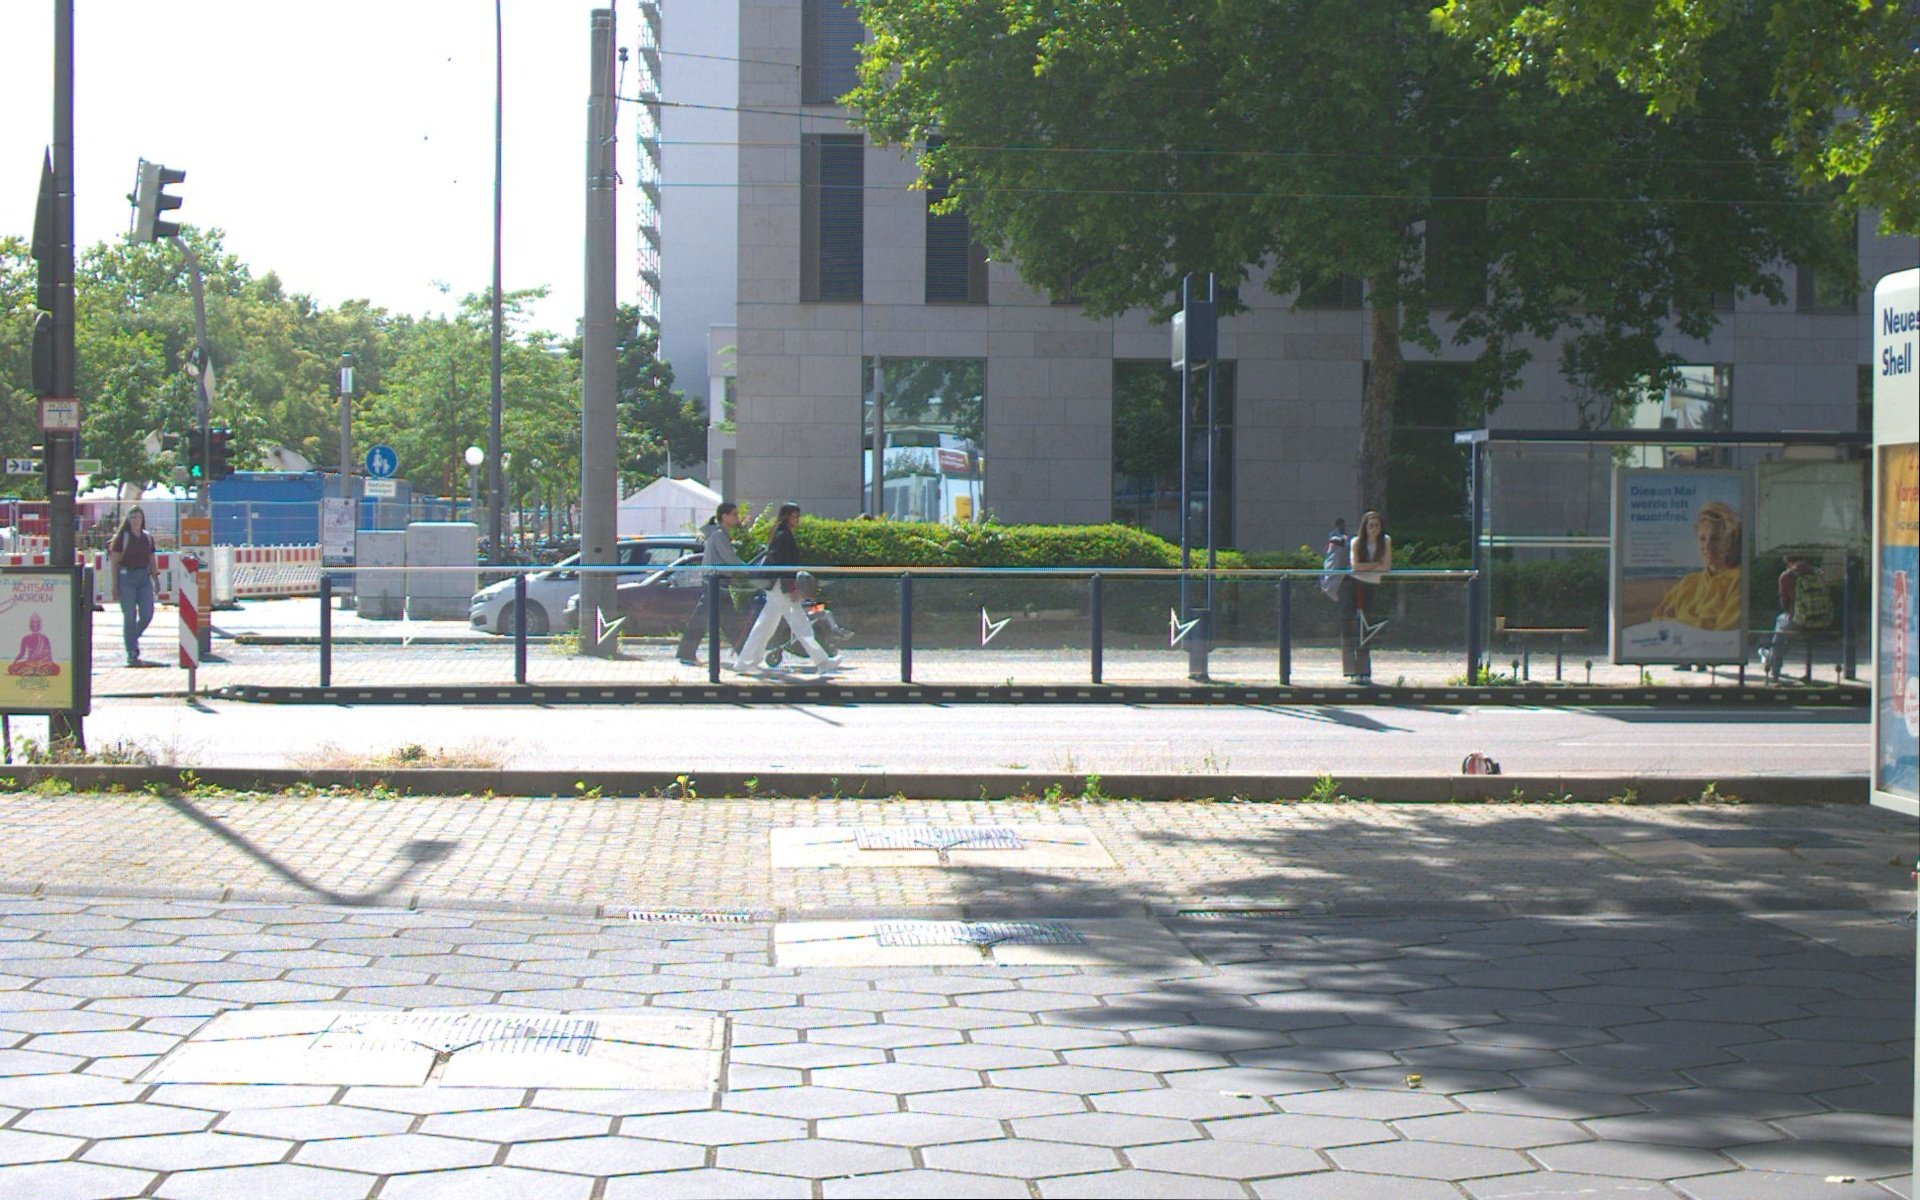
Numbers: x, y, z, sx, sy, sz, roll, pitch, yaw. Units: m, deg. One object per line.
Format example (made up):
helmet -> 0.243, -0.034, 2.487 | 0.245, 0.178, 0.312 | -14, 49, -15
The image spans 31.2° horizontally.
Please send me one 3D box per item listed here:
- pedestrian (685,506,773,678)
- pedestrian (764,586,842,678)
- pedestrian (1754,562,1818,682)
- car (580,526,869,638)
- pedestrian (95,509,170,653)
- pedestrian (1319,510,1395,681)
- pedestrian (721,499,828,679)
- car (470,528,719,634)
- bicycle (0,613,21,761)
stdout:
pedestrian -> -2.274, -0.087, 33.856 | 0.777, 1.677, 0.503 | 1, 1, 6
pedestrian -> -1.541, 0.312, 33.787 | 0.690, 0.877, 0.503 | 1, 1, 6
pedestrian -> 7.936, 0.209, 33.041 | 0.499, 1.134, 0.524 | 1, 1, 3
car -> -3.384, -0.268, 49.130 | 3.986, 1.546, 1.704 | 0, 1, -8
pedestrian -> -8.913, -0.206, 37.059 | 0.650, 1.535, 0.503 | 1, 1, 6
pedestrian -> 3.770, -0.051, 32.676 | 0.584, 1.586, 0.670 | 0, 3, -4
pedestrian -> -1.753, -0.109, 32.598 | 0.932, 1.677, 0.503 | 1, 1, 6
car -> -5.544, -0.300, 51.943 | 3.681, 1.546, 1.592 | 0, 1, -8
bicycle -> -7.782, 0.623, 25.715 | 1.865, 1.078, 0.523 | 2, 2, 41
